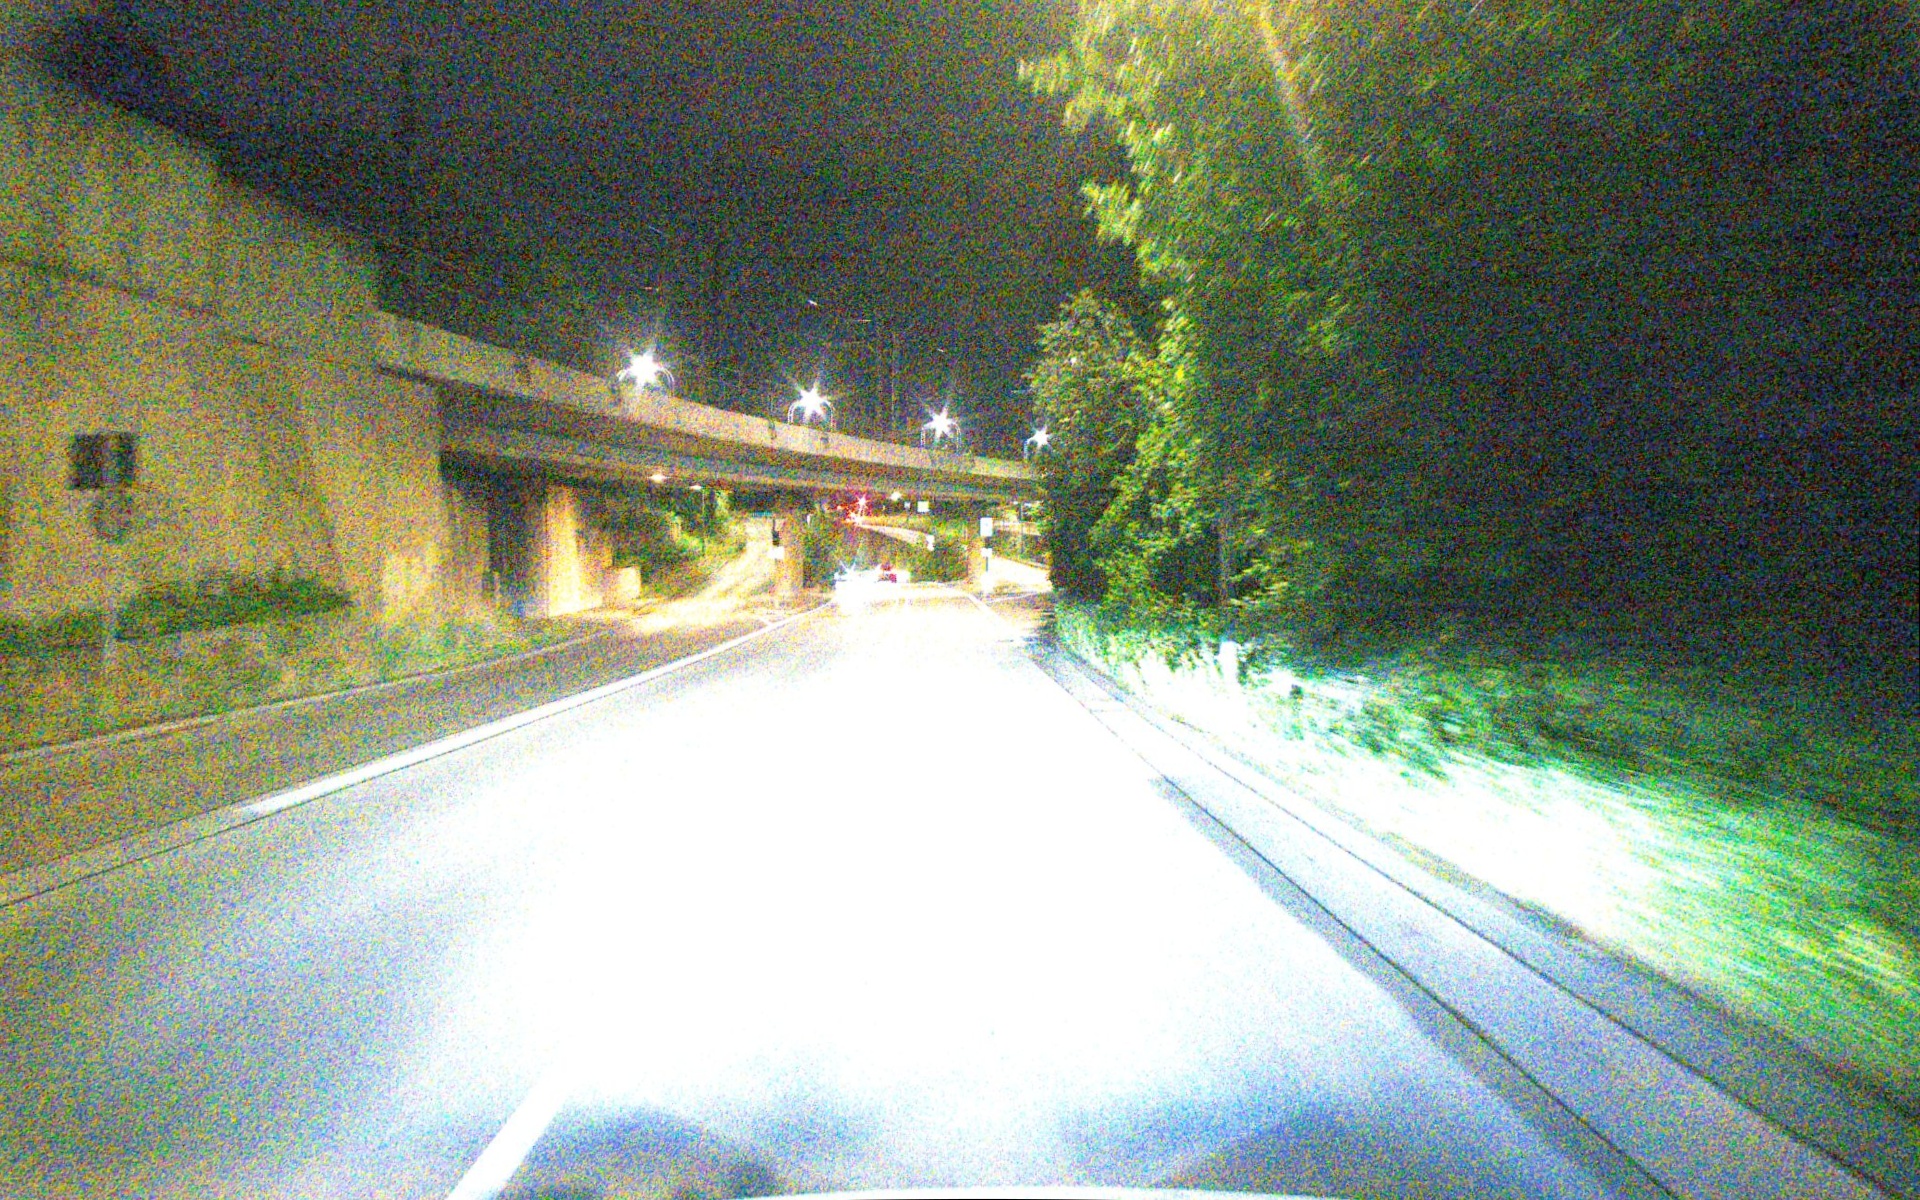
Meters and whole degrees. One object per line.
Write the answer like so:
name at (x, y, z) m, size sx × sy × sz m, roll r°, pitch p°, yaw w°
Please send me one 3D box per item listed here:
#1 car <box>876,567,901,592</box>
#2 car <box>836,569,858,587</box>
car at (-6.216, -1.733, 143.227) m, size 1.882 × 2.049 × 4.116 m, roll 2°, pitch 0°, yaw -7°
car at (-10.257, -1.962, 149.808) m, size 1.845 × 1.581 × 4.213 m, roll -2°, pitch 1°, yaw -6°
